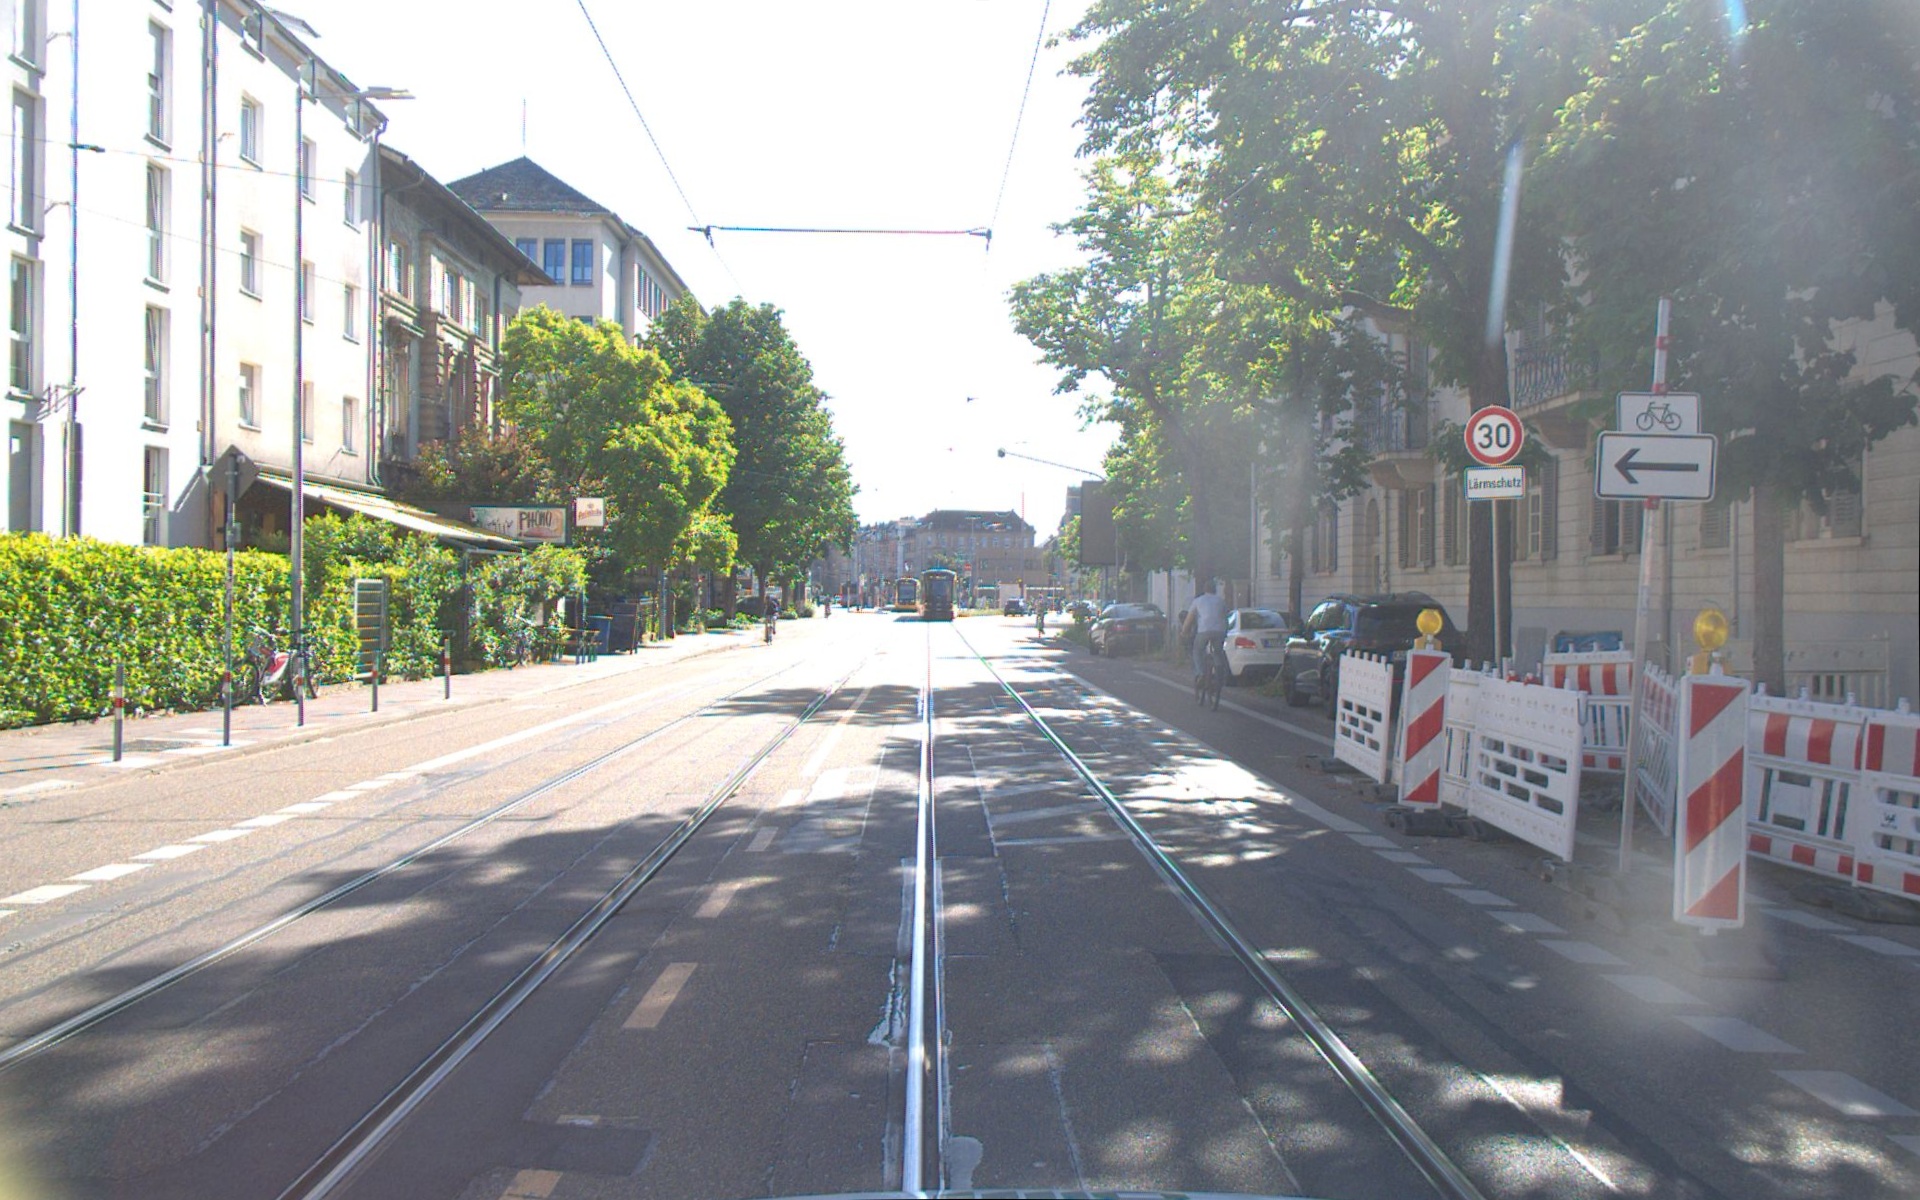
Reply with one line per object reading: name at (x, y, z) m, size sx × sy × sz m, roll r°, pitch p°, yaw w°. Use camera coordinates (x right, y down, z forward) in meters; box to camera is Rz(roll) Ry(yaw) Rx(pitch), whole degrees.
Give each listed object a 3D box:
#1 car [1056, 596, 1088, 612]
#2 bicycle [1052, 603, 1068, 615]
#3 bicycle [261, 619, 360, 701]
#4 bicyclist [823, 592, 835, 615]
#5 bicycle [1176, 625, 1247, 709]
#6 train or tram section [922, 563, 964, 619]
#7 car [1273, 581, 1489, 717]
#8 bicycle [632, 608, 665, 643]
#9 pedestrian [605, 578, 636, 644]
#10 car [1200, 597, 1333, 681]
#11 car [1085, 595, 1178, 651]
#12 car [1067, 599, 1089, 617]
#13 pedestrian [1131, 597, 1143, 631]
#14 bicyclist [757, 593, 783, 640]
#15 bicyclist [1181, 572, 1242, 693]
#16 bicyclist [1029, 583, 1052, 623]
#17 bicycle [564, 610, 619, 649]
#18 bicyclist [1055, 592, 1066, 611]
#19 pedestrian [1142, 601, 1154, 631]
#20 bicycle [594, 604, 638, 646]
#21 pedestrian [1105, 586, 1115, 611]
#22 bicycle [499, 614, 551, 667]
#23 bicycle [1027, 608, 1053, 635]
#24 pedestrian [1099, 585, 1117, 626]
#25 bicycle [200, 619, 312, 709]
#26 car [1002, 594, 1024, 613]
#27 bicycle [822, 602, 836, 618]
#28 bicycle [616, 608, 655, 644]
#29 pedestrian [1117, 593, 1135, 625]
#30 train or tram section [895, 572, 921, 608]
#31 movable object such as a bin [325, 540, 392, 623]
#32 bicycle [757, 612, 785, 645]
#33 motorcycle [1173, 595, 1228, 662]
car at (11.534, 0.419, 170.701) m, size 1.672 × 1.672 × 3.701 m, roll 2°, pitch 1°, yaw 34°
bicycle at (9.104, 0.791, 150.373) m, size 0.691 × 1.073 × 2.313 m, roll 3°, pitch 1°, yaw 23°
bicycle at (-9.425, 0.855, 24.071) m, size 0.648 × 1.108 × 1.840 m, roll 3°, pitch -1°, yaw 0°
bicyclist at (-9.428, 0.248, 118.864) m, size 0.672 × 1.673 × 1.238 m, roll -1°, pitch 0°, yaw 3°
bicycle at (3.665, 0.952, 24.264) m, size 0.723 × 1.113 × 2.111 m, roll 2°, pitch 0°, yaw 1°
train or tram section at (-1.329, -0.668, 118.386) m, size 2.687 × 3.715 × 13.781 m, roll 1°, pitch 1°, yaw -2°
car at (5.707, 0.600, 23.027) m, size 1.773 × 1.654 × 4.583 m, roll -2°, pitch 0°, yaw 0°
bicycle at (-10.021, 0.810, 53.284) m, size 0.577 × 1.064 × 1.905 m, roll 2°, pitch 0°, yaw 2°
pedestrian at (-9.650, 0.305, 47.017) m, size 0.563 × 1.863 × 0.690 m, roll 1°, pitch 0°, yaw 18°
car at (5.627, 0.674, 30.839) m, size 1.688 × 1.406 × 4.356 m, roll -1°, pitch 0°, yaw 1°
car at (4.861, 0.627, 47.428) m, size 1.786 × 1.484 × 4.814 m, roll -1°, pitch 0°, yaw -4°
car at (10.635, 0.717, 149.089) m, size 1.752 × 1.537 × 3.713 m, roll 2°, pitch 0°, yaw 1°
pedestrian at (8.533, 0.662, 79.772) m, size 0.507 × 1.628 × 0.765 m, roll 0°, pitch 0°, yaw 2°
bicyclist at (-6.769, 0.588, 59.105) m, size 0.730 × 1.627 × 1.118 m, roll -3°, pitch 0°, yaw 0°
bicyclist at (3.678, 0.459, 24.253) m, size 0.723 × 1.715 × 0.972 m, roll 2°, pitch 0°, yaw 1°
bicyclist at (3.526, 0.135, 72.159) m, size 0.690 × 1.704 × 1.102 m, roll 2°, pitch 0°, yaw 18°
bicycle at (-10.451, 0.813, 46.954) m, size 0.623 × 1.064 × 2.023 m, roll 1°, pitch 0°, yaw 15°
bicyclist at (9.157, 0.152, 150.421) m, size 0.691 × 1.730 × 0.986 m, roll 3°, pitch 1°, yaw 23°
pedestrian at (9.078, 0.780, 79.778) m, size 0.507 × 1.429 × 0.765 m, roll 0°, pitch 0°, yaw 2°
bicycle at (-10.112, 0.728, 48.678) m, size 0.632 × 1.163 × 1.906 m, roll 3°, pitch 0°, yaw 7°
pedestrian at (11.557, -0.120, 127.573) m, size 0.624 × 1.937 × 1.134 m, roll -2°, pitch 0°, yaw 0°
bicycle at (-9.528, 0.867, 36.263) m, size 0.625 × 1.077 × 1.743 m, roll 3°, pitch 0°, yaw 0°
bicycle at (3.504, 0.913, 72.180) m, size 0.690 × 1.124 × 1.718 m, roll 2°, pitch 1°, yaw 18°
pedestrian at (6.924, 0.240, 77.307) m, size 0.670 × 1.882 × 0.955 m, roll -1°, pitch 0°, yaw -2°
bicycle at (-9.378, 0.831, 22.102) m, size 0.648 × 1.108 × 1.840 m, roll 3°, pitch -1°, yaw 0°
car at (4.765, 0.325, 147.947) m, size 1.751 × 1.632 × 3.715 m, roll 2°, pitch 0°, yaw 5°
bicycle at (-9.415, 0.730, 118.882) m, size 0.672 × 1.144 × 1.932 m, roll -1°, pitch 0°, yaw 3°
bicycle at (-10.055, 0.806, 51.276) m, size 0.577 × 1.064 × 1.906 m, roll 2°, pitch 0°, yaw 7°
pedestrian at (8.639, 0.466, 86.223) m, size 0.839 × 1.669 × 0.993 m, roll 0°, pitch -2°, yaw 1°
train or tram section at (-5.582, -1.095, 177.329) m, size 2.687 × 3.715 × 13.781 m, roll 1°, pitch 1°, yaw -2°
movable object such as a bin at (-11.038, -0.334, 30.373) m, size 0.790 × 1.482 × 1.258 m, roll -1°, pitch 0°, yaw -2°
bicycle at (-6.751, 1.015, 59.109) m, size 0.730 × 1.101 × 1.899 m, roll -3°, pitch 0°, yaw 0°
motorcycle at (5.681, 0.646, 39.267) m, size 0.895 × 1.514 × 2.679 m, roll -2°, pitch 0°, yaw 0°
